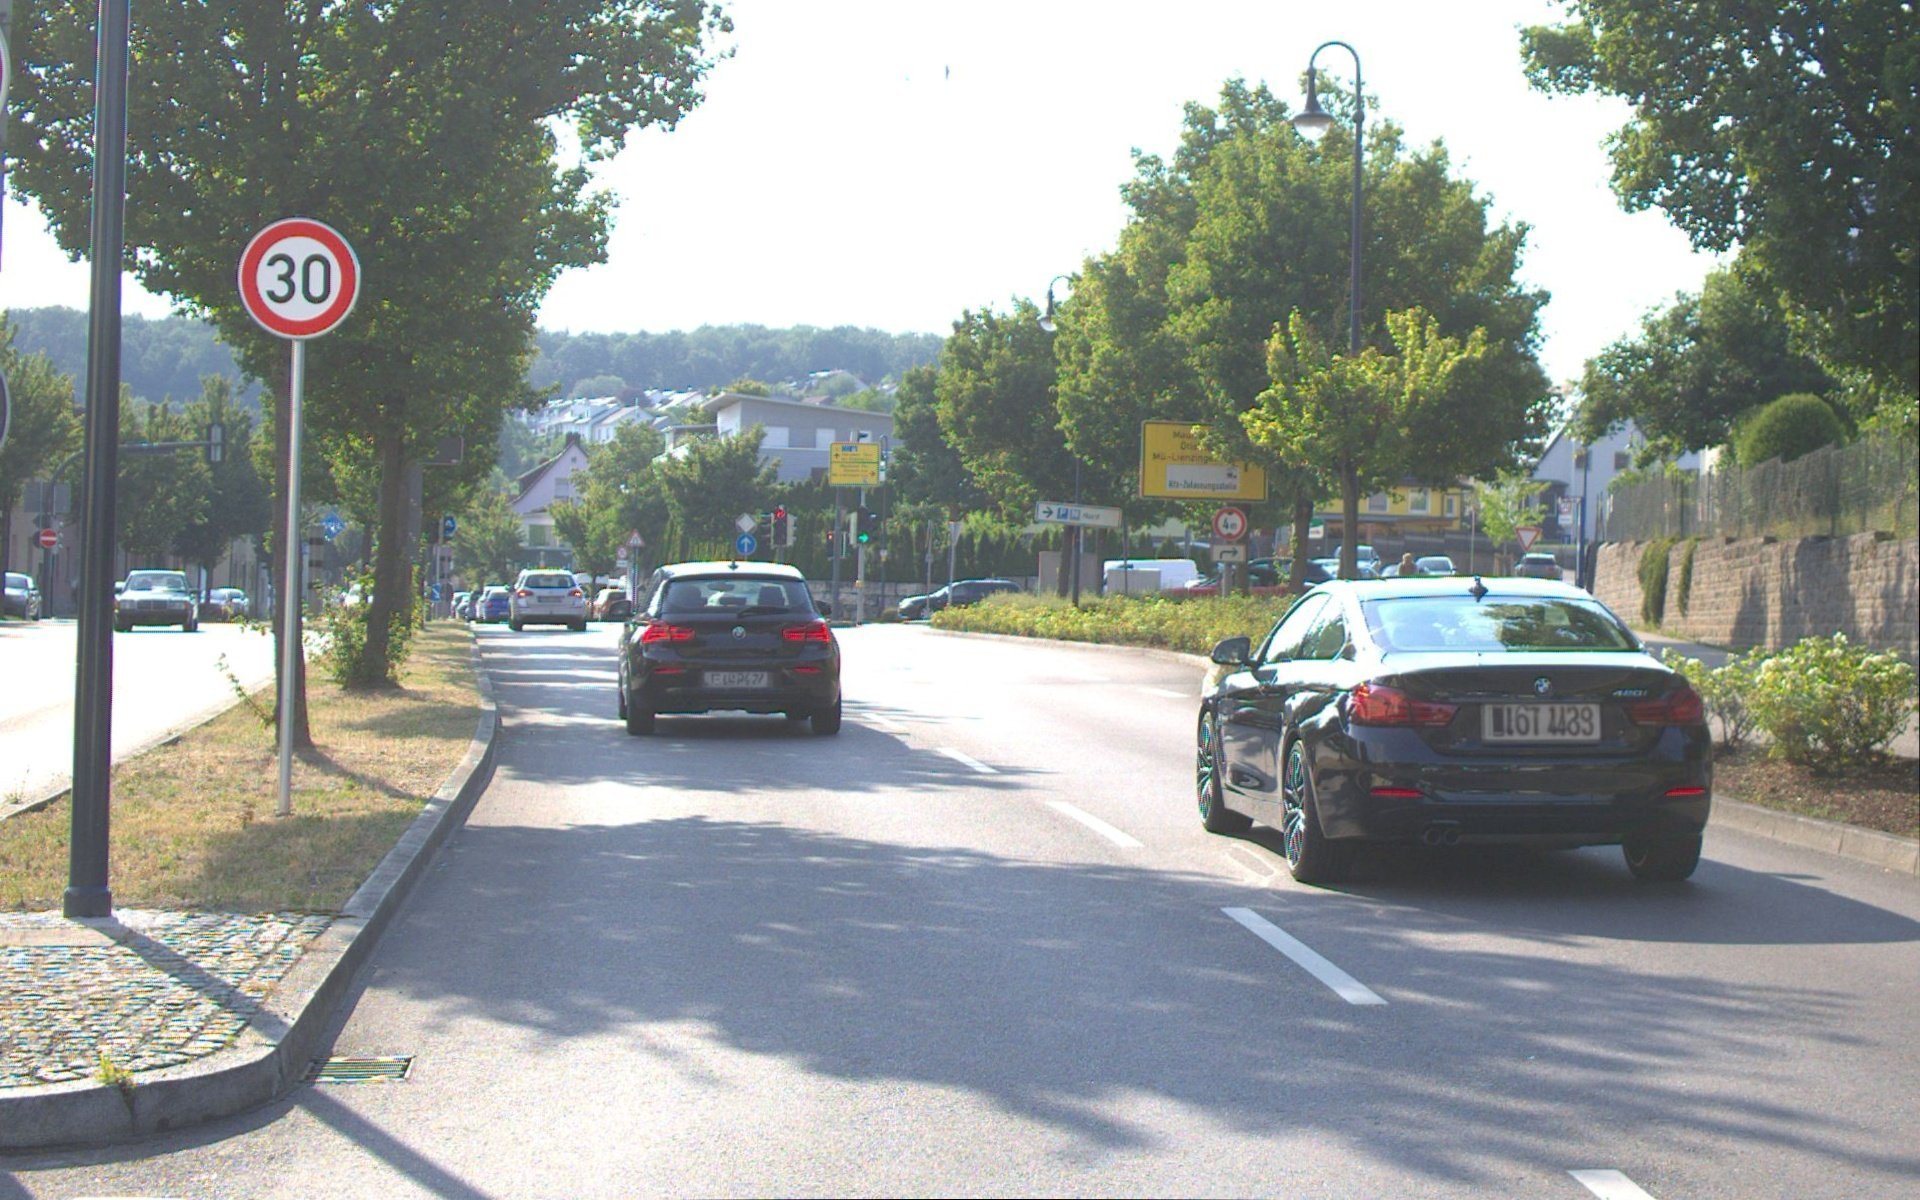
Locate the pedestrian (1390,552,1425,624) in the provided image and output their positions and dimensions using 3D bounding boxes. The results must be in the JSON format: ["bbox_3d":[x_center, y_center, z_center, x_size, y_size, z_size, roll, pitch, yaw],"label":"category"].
[{"bbox_3d":[10.634,-0.282,81.732,0.695,1.697,0.950,0,0,0],"label":"pedestrian"}]

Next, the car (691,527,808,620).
[{"bbox_3d":[-4.181,-0.531,67.694,1.924,1.763,4.455,0,1,-8],"label":"car"}]

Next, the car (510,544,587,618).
[{"bbox_3d":[-10.178,-0.480,84.796,1.755,1.763,3.972,0,1,-8],"label":"car"}]

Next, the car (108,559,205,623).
[{"bbox_3d":[-17.817,-0.220,76.355,1.755,1.356,4.486,0,1,-9],"label":"car"}]

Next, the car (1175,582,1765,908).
[{"bbox_3d":[2.286,0.600,16.633,1.920,1.359,4.353,0,0,-4],"label":"car"}]

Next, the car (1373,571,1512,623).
[{"bbox_3d":[17.638,-0.118,125.798,4.629,1.823,2.001,0,1,-10],"label":"car"}]

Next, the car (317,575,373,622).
[{"bbox_3d":[-22.235,-0.068,124.433,1.729,1.673,4.001,0,1,-7],"label":"car"}]

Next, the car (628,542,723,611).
[{"bbox_3d":[-7.595,-0.638,91.456,2.216,1.763,4.455,0,1,-8],"label":"car"}]

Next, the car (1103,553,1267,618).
[{"bbox_3d":[7.645,-0.490,116.873,5.106,2.123,2.147,0,1,-21],"label":"car"}]

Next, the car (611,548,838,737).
[{"bbox_3d":[-1.956,0.312,29.648,1.721,1.485,4.353,1,1,-1],"label":"car"}]

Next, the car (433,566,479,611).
[{"bbox_3d":[-23.396,-0.559,159.719,1.772,2.007,4.001,1,1,-4],"label":"car"}]
